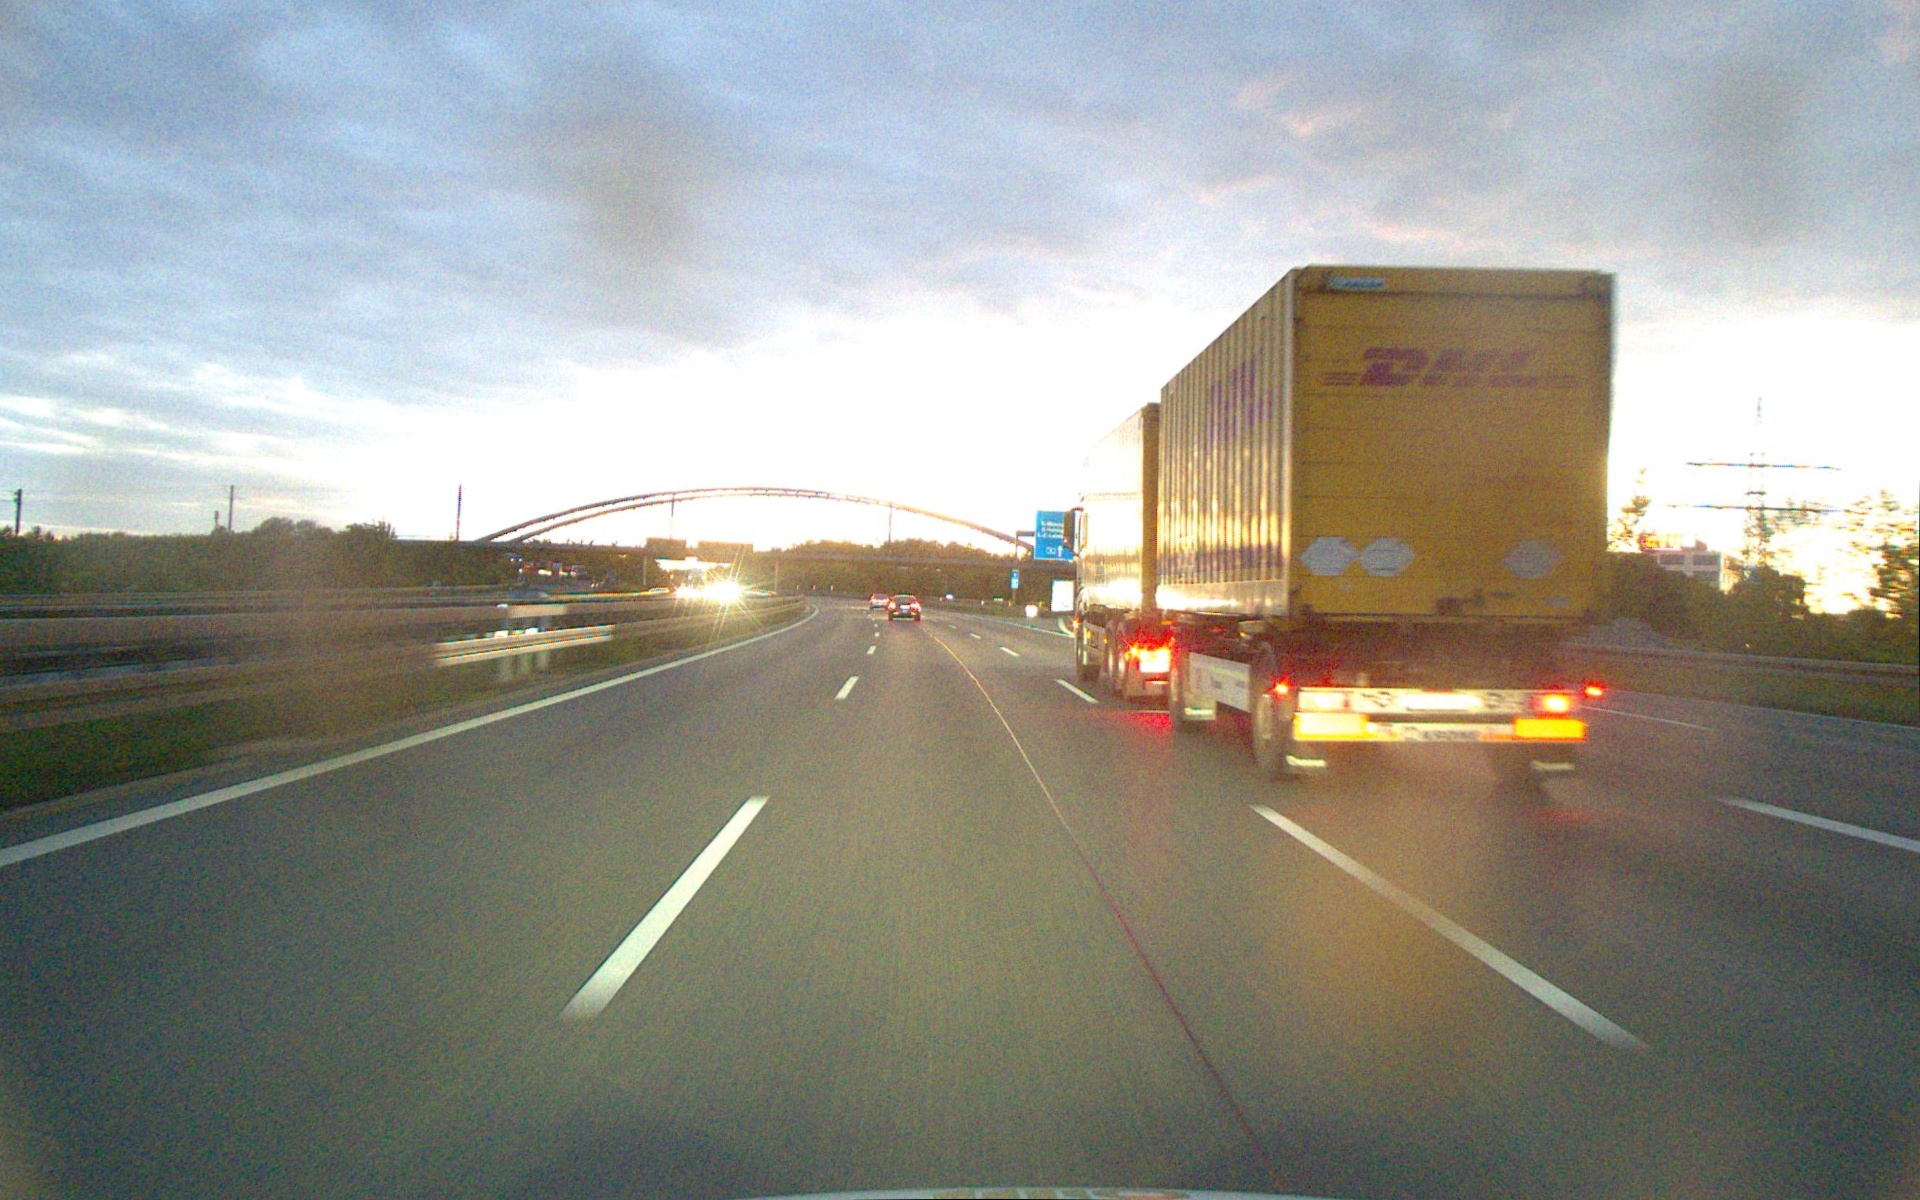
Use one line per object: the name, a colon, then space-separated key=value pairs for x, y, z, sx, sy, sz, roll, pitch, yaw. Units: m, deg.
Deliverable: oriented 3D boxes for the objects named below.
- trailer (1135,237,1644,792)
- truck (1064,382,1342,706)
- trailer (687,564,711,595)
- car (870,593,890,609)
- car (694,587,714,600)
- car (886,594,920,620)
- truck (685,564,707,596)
trailer: x=3.709 y=-0.664 z=16.879 sx=2.667 sy=4.142 sz=8.828 roll=1 pitch=0 yaw=-1
truck: x=3.462 y=-0.751 z=26.579 sx=2.636 sy=4.142 sz=10.517 roll=1 pitch=0 yaw=-1
trailer: x=-39.571 y=-3.054 z=250.782 sx=2.770 sy=4.586 sz=14.609 roll=1 pitch=0 yaw=-6
car: x=-7.390 y=0.110 z=152.773 sx=1.655 sy=1.426 sz=3.408 roll=0 pitch=-2 yaw=0
car: x=-33.078 y=-0.866 z=214.010 sx=1.953 sy=1.653 sz=4.842 roll=1 pitch=0 yaw=-2
car: x=-3.328 y=0.423 z=95.646 sx=1.657 sy=1.426 sz=3.403 roll=1 pitch=-1 yaw=-7
truck: x=-38.927 y=-2.903 z=244.329 sx=2.770 sy=4.586 sz=6.237 roll=1 pitch=0 yaw=-6
